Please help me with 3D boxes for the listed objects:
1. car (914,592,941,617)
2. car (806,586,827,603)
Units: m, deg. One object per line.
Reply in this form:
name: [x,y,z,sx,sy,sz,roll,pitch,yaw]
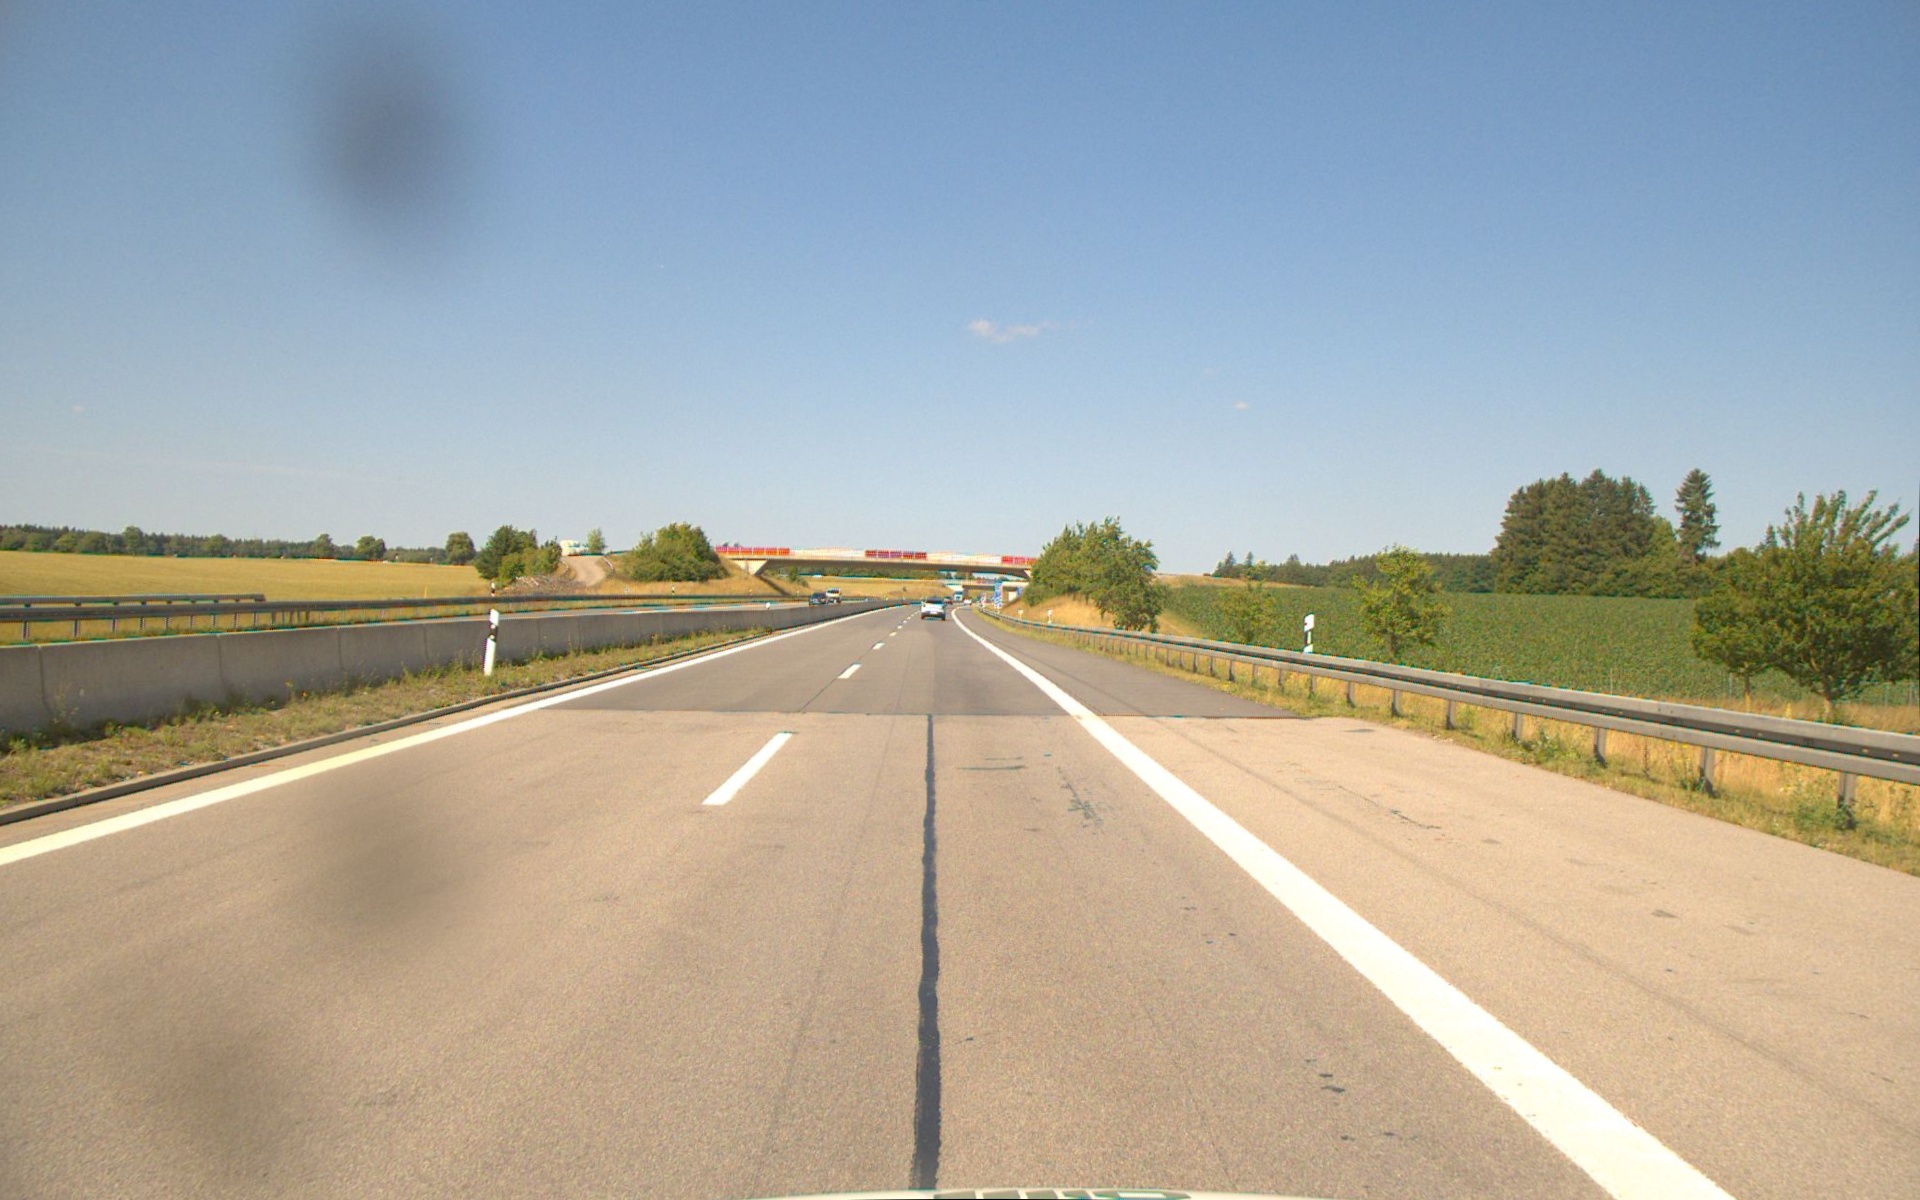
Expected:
car: [-2.398,0.365,122.855,1.953,1.761,4.868,2,0,0]
car: [-15.529,-0.621,179.152,1.869,1.714,5.006,4,1,-1]
